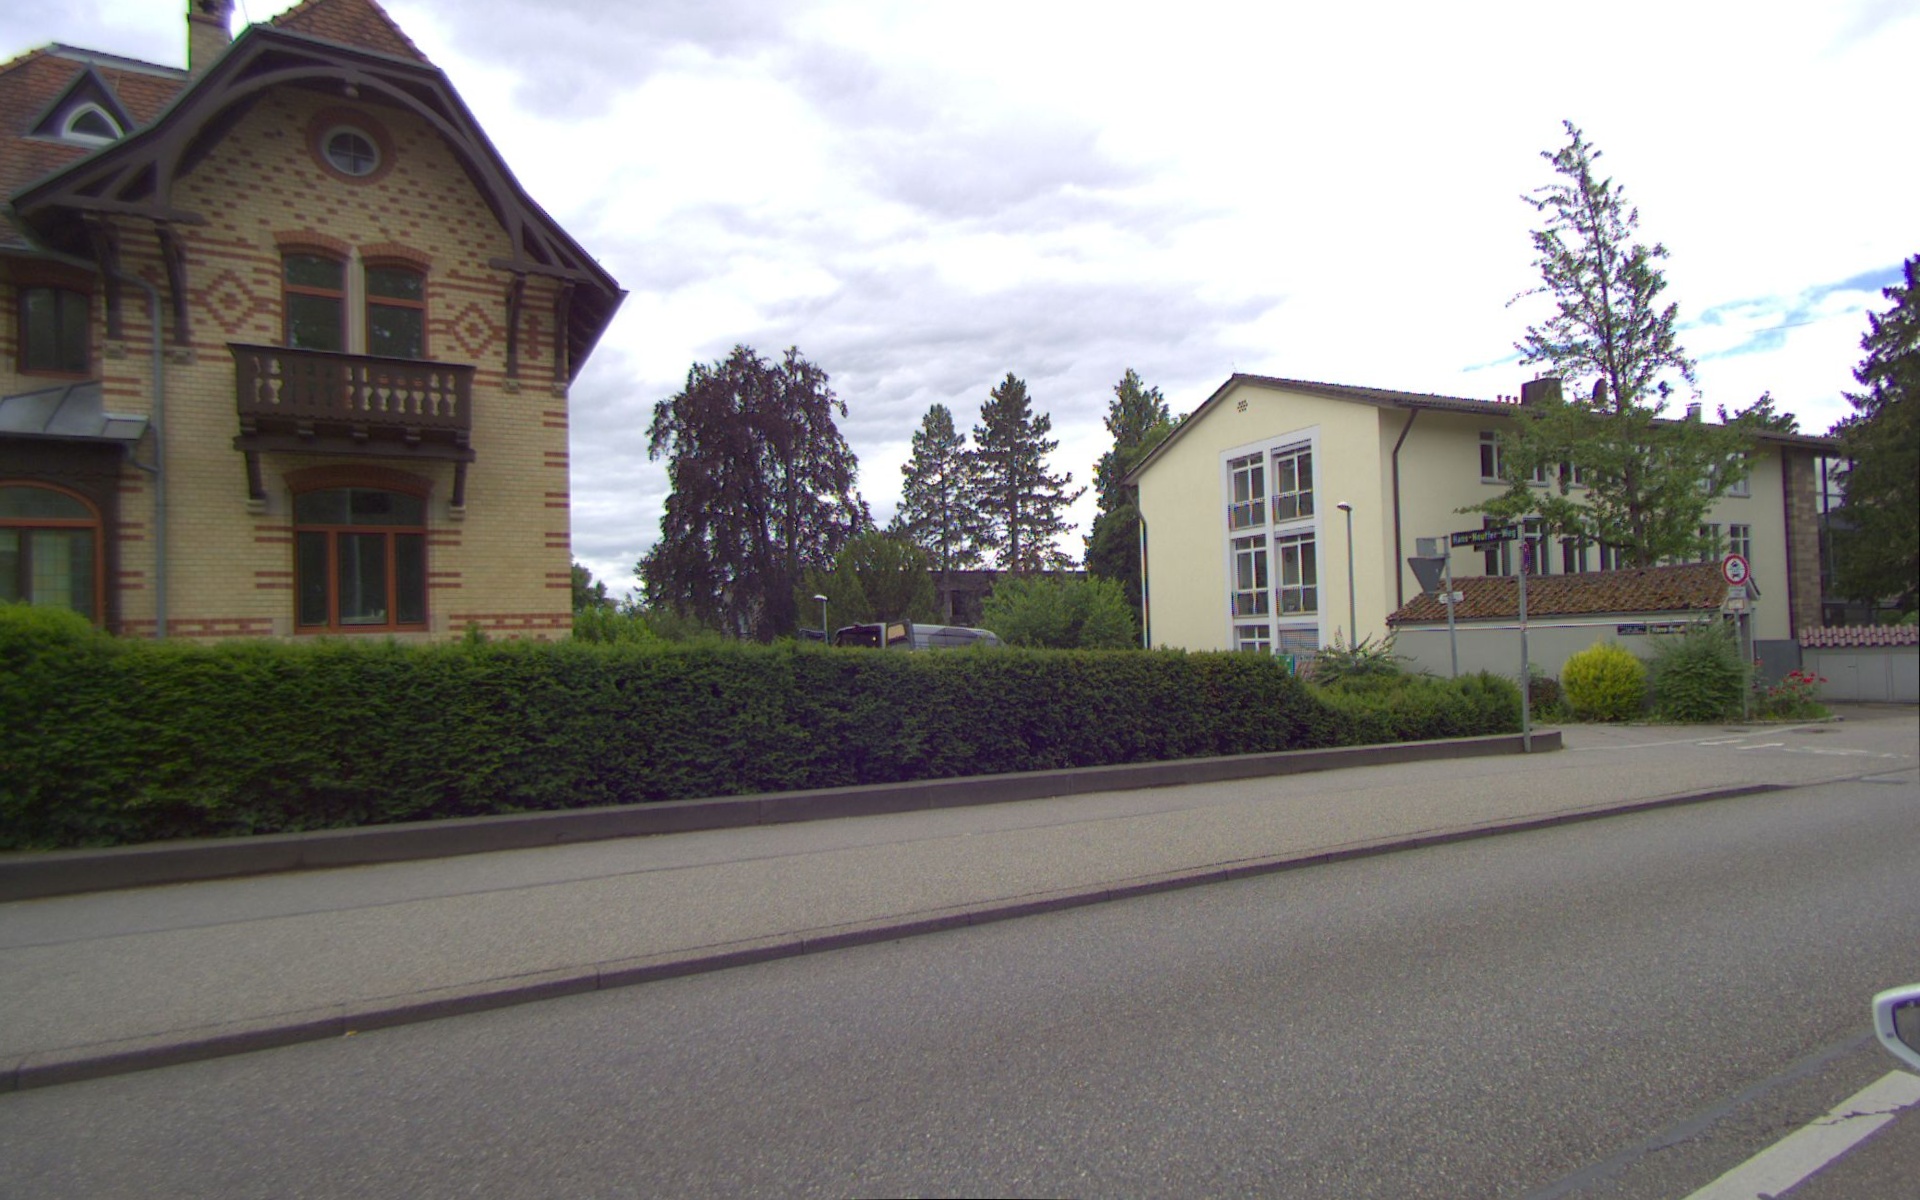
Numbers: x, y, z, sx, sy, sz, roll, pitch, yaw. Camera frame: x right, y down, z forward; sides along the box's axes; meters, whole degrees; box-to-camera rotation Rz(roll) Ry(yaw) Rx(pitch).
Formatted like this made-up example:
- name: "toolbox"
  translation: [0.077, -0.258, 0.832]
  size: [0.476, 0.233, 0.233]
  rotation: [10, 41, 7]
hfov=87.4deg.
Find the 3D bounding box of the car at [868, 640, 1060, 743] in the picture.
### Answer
- name: "car"
  translation: [0.144, 1.622, 18.776]
  size: [1.666, 1.616, 3.487]
  rotation: [1, 0, 43]
